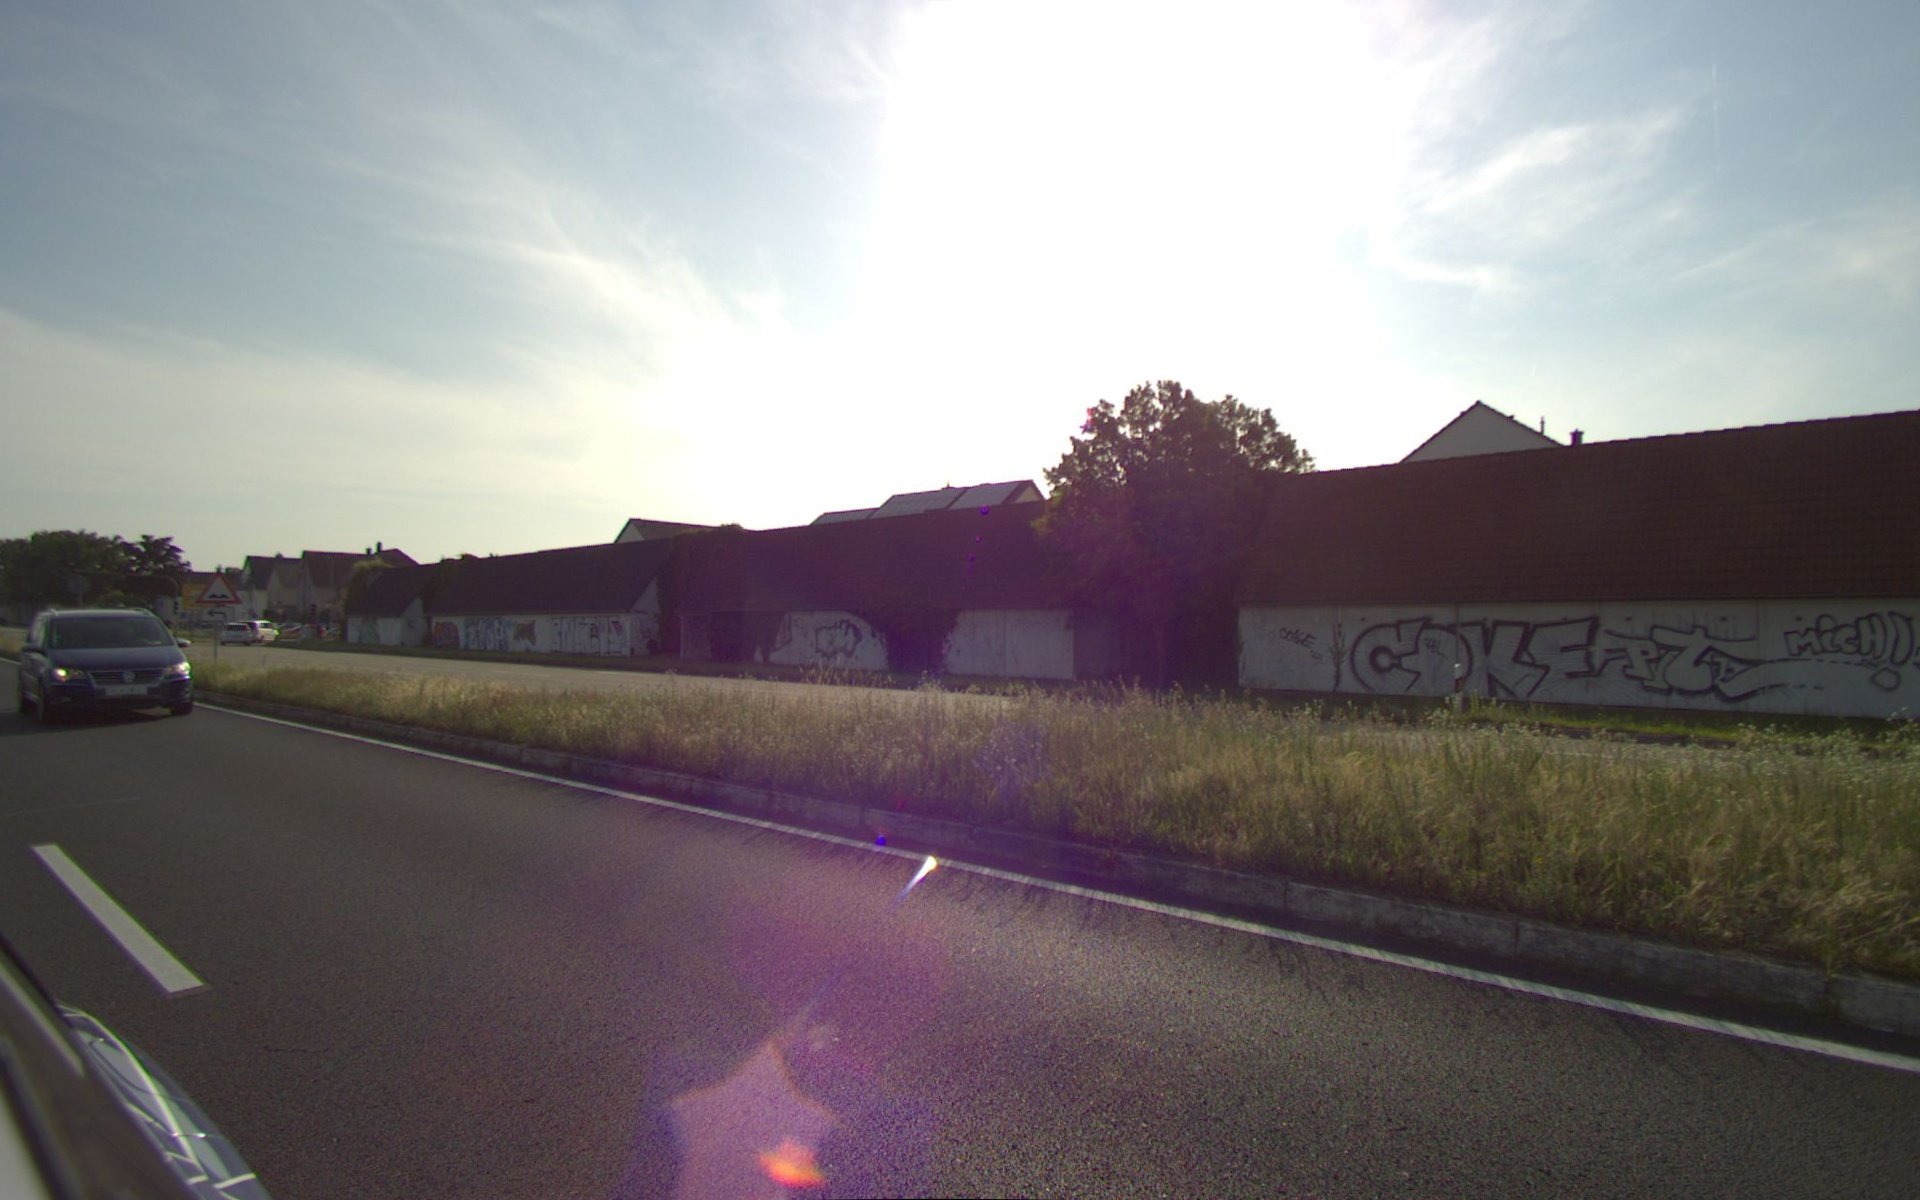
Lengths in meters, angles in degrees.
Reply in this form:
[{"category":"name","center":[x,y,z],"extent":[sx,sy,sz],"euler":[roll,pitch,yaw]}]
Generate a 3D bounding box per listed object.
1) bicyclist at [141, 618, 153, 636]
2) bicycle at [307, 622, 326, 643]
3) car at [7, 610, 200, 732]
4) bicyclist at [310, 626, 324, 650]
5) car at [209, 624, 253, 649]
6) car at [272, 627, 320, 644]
[{"category":"bicyclist","center":[-83.746,2.770,104.283],"extent":[0.843,1.800,0.848],"euler":[5,-3,-40]},{"category":"bicycle","center":[-56.110,2.815,88.216],"extent":[2.607,1.762,0.745],"euler":[0,0,42]},{"category":"car","center":[-13.576,0.984,15.933],"extent":[4.682,1.633,1.753],"euler":[0,-1,43]},{"category":"bicyclist","center":[-56.000,3.281,88.083],"extent":[1.062,2.029,0.762],"euler":[-1,0,42]},{"category":"car","center":[-54.673,2.694,75.870],"extent":[1.815,1.720,4.760],"euler":[5,-4,-45]},{"category":"car","center":[-70.673,3.786,107.721],"extent":[1.758,1.575,3.943],"euler":[0,-4,43]}]
